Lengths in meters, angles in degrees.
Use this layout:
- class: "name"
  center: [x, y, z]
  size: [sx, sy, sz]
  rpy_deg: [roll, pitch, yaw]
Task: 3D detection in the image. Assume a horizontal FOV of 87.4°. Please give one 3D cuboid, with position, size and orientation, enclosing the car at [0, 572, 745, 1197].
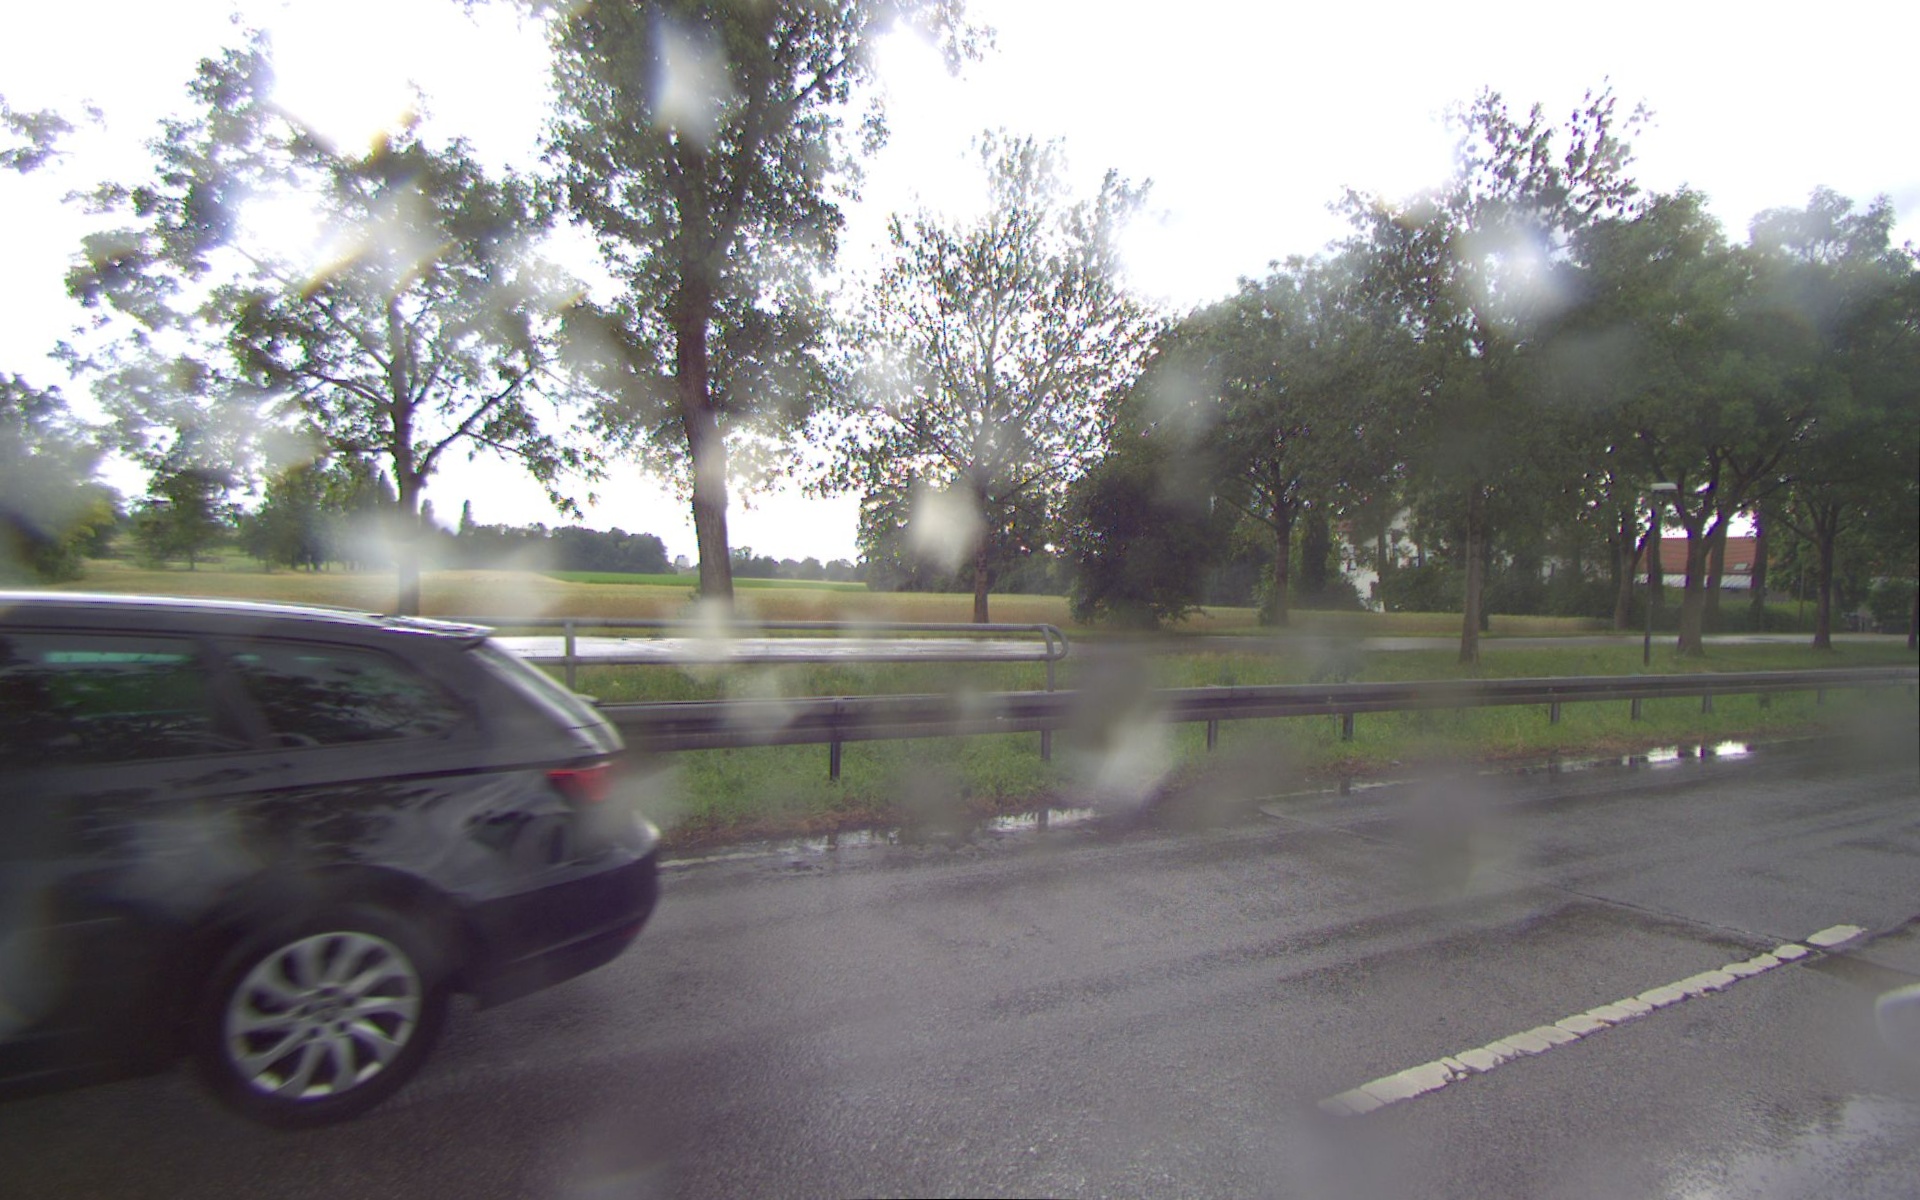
- class: "car"
  center: [-2.881, 0.657, 2.974]
  size: [4.063, 1.470, 1.706]
  rpy_deg: [1, 0, -30]
